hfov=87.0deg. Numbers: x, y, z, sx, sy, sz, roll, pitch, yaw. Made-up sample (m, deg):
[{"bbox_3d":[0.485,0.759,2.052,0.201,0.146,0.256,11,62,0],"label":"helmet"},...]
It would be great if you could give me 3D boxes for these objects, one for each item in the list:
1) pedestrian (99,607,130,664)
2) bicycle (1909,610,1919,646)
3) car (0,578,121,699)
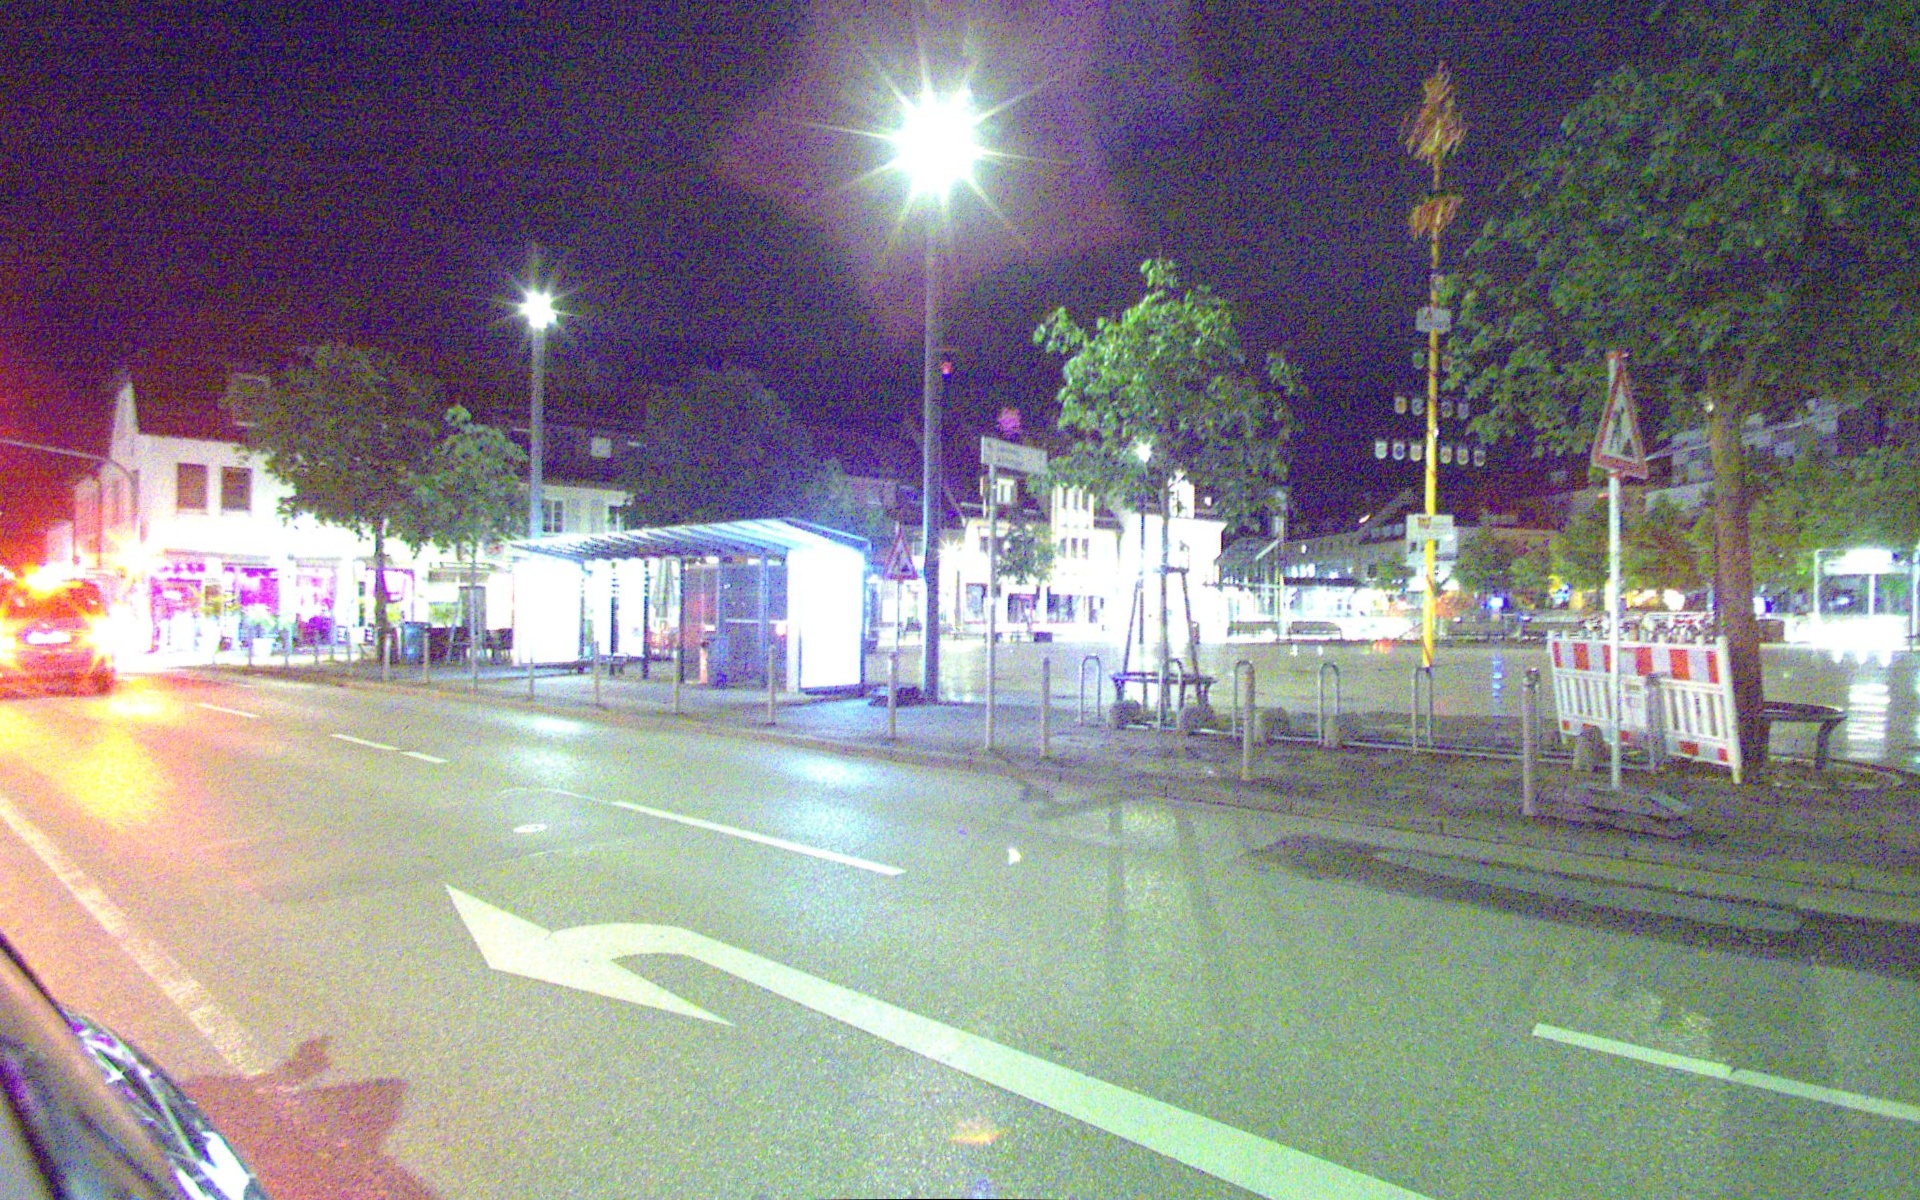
[{"bbox_3d":[-24.935,1.029,29.832,0.583,1.640,0.638,-1,0,44],"label":"pedestrian"},{"bbox_3d":[26.406,0.750,26.972,1.525,0.965,0.476,-1,0,25],"label":"bicycle"},{"bbox_3d":[-16.424,0.636,17.799,4.912,1.886,1.945,-1,-1,43],"label":"car"}]
